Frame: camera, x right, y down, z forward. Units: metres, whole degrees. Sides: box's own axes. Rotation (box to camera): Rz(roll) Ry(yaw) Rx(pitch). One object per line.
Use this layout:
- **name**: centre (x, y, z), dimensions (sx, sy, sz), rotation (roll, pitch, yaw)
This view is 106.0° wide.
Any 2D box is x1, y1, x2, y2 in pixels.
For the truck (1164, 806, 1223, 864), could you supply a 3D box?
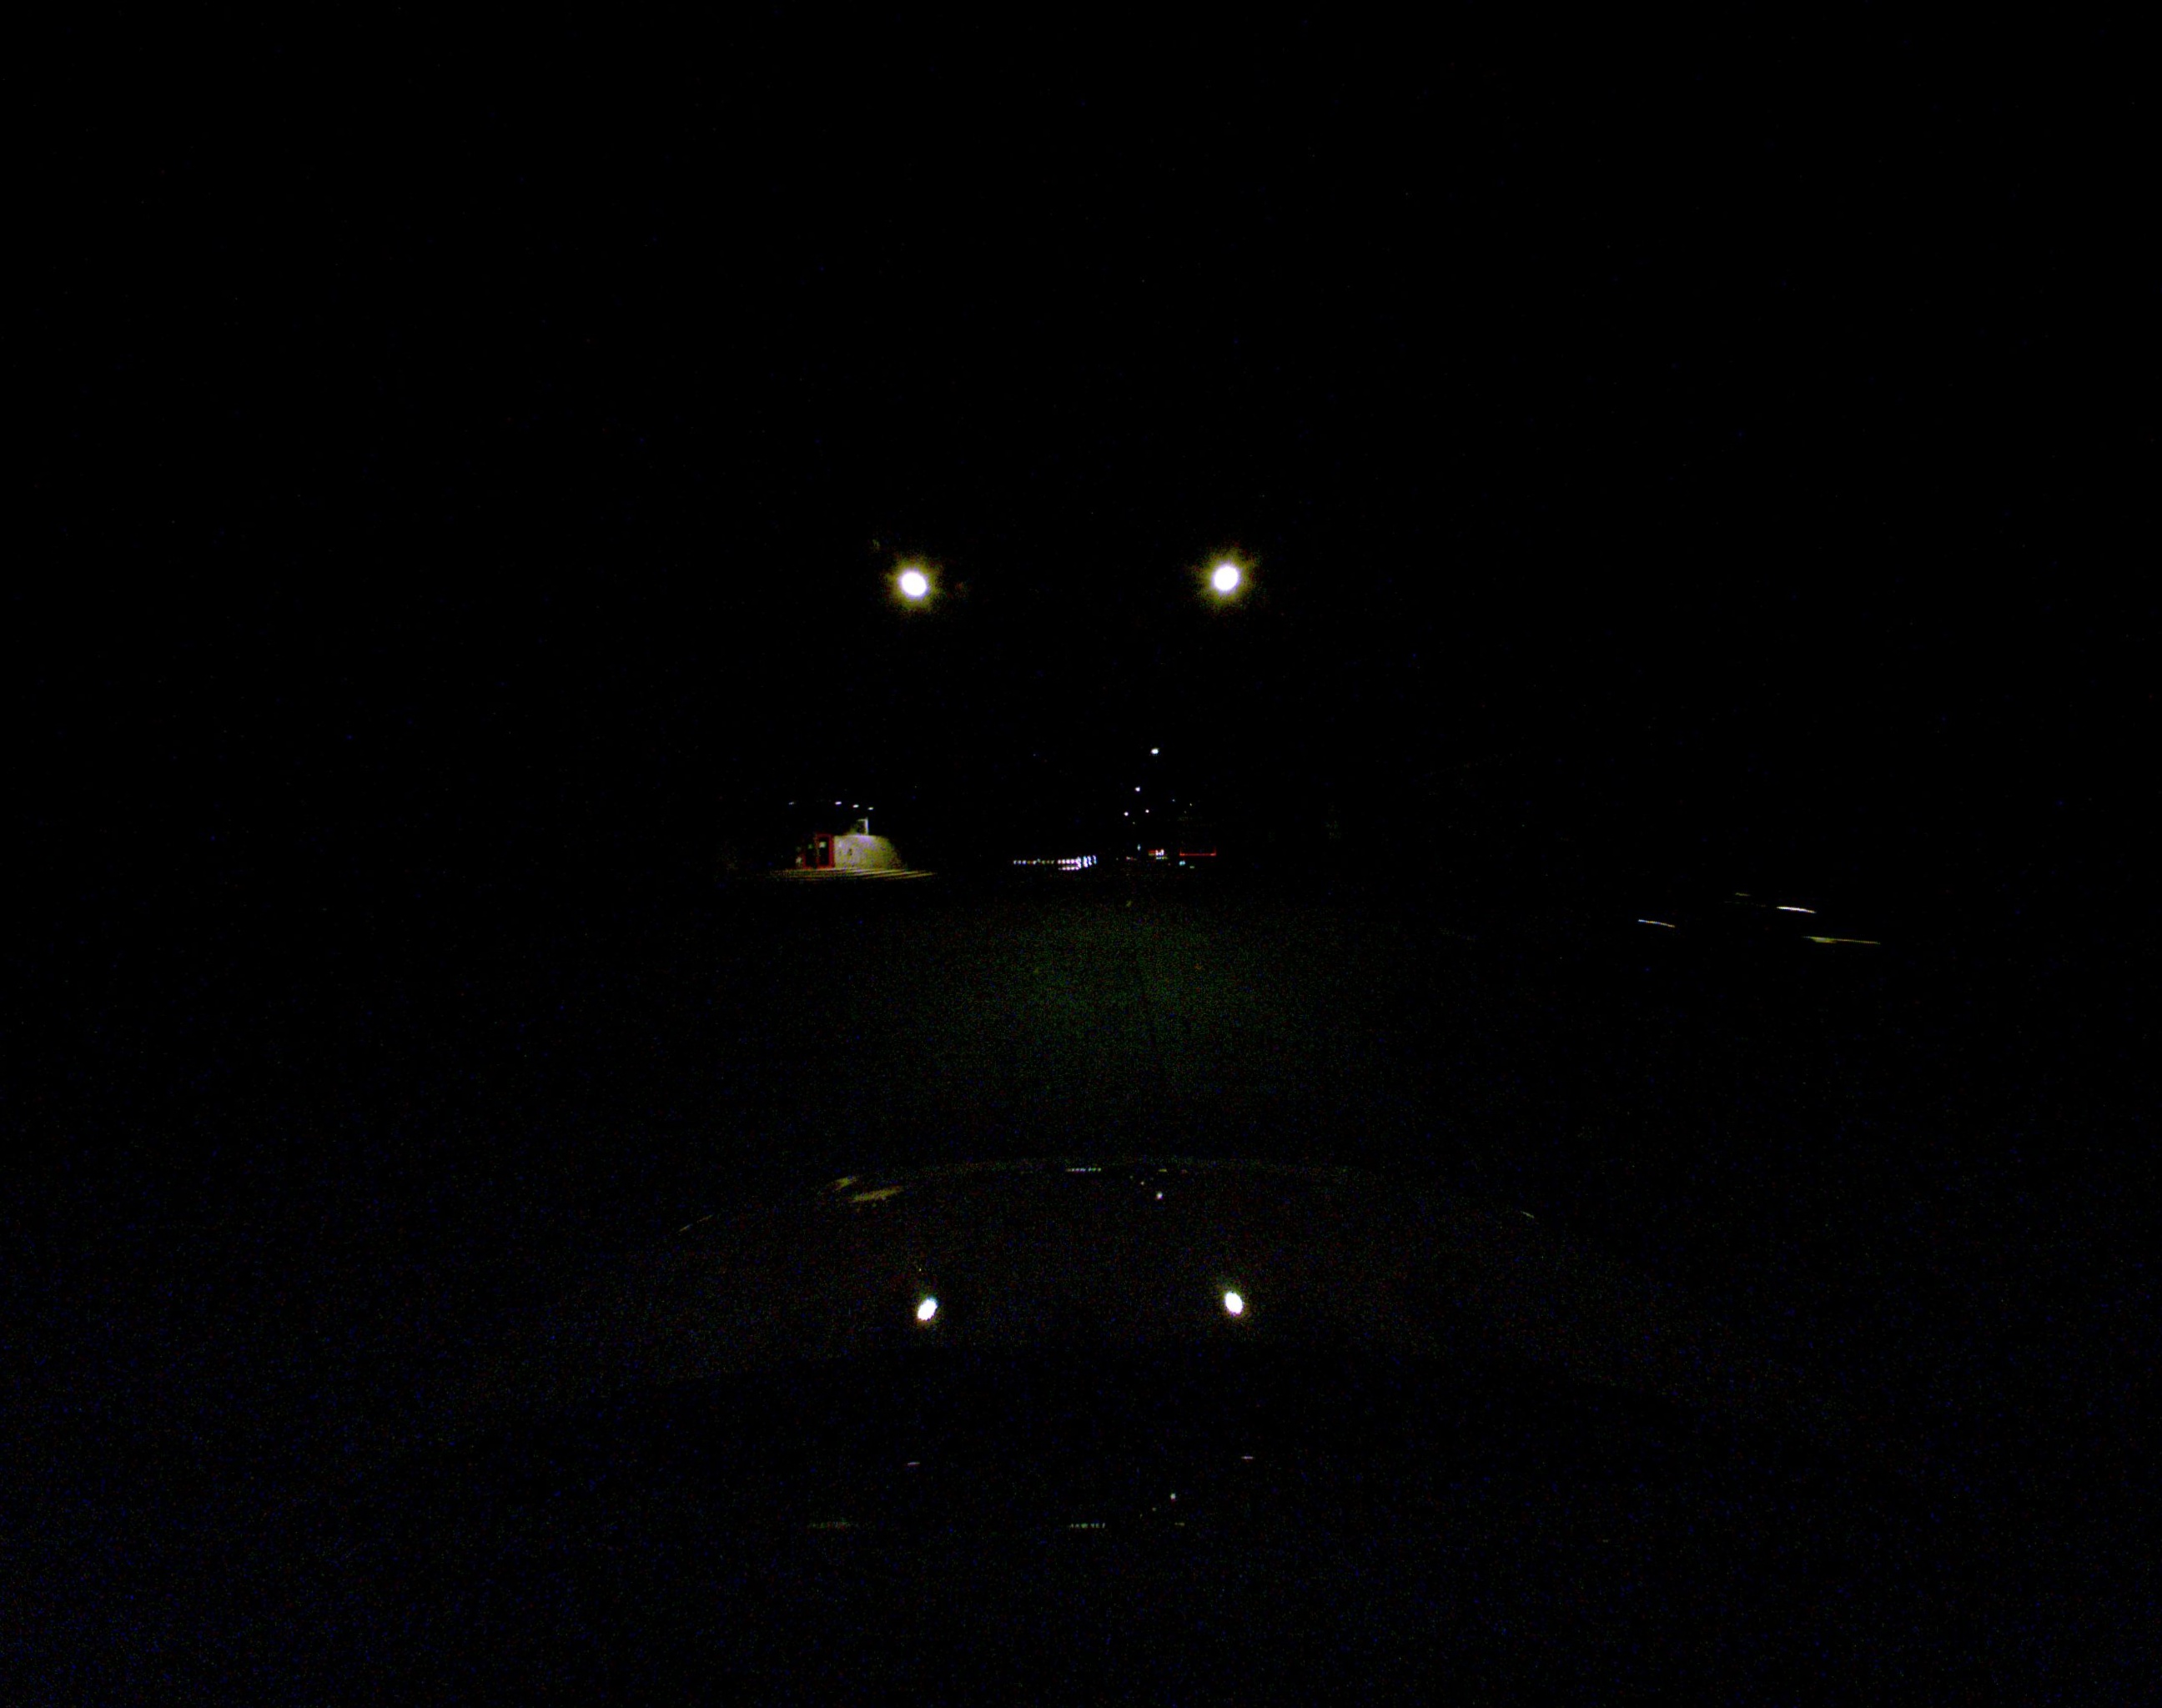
- **truck**: centre (8.090, -1.269, 59.698), dimensions (3.311, 3.868, 9.332), rotation (-1, 0, 2)

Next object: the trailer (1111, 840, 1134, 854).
- **trailer**: centre (7.029, -1.180, 137.485), dimensions (1.567, 2.160, 5.178), rotation (-3, -1, -25)

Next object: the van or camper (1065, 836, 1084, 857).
- **van or camper**: centre (-0.980, -1.198, 134.547), dimensions (2.508, 3.094, 7.452), rotation (-3, 0, 3)

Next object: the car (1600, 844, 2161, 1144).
- **car**: centre (5.948, 0.635, 5.682), dimensions (1.720, 1.386, 4.677), rotation (-1, 1, 1)

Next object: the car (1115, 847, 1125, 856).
- **car**: centre (7.309, -0.500, 152.242), dimensions (1.713, 1.661, 4.003), rotation (-1, -1, 3)

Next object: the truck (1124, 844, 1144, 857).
- **truck**: centre (14.414, -0.978, 221.693), dimensions (1.975, 3.404, 9.032), rotation (-1, 1, 26)

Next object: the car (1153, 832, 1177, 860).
- **car**: centre (7.905, -0.734, 77.334), dimensions (2.099, 2.516, 6.380), rotation (-1, 1, 5)

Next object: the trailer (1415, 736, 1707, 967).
- **trailer**: centre (6.356, -0.041, 11.408), dimensions (1.984, 2.651, 4.006), rotation (-1, 1, 5)

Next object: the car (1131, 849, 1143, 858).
- **car**: centre (12.444, -0.043, 180.529), dimensions (1.707, 1.821, 4.018), rotation (-1, -1, 17)

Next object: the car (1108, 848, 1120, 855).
- **car**: centre (8.392, -0.620, 204.923), dimensions (1.978, 1.699, 4.225), rotation (-1, -1, 17)

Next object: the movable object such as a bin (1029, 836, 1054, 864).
- **movable object such as a bin**: centre (-3.802, -0.371, 77.332), dimensions (1.553, 2.467, 2.822), rotation (-3, 0, -19)

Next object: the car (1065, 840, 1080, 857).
- **car**: centre (-1.621, -1.035, 159.344), dimensions (2.510, 2.927, 7.202), rotation (-3, 0, 1)

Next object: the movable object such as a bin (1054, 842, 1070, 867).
- **movable object such as a bin**: centre (-2.288, 0.057, 96.886), dimensions (1.568, 2.733, 3.695), rotation (-4, 1, -4)

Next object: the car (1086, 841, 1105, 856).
- **car**: centre (3.310, -1.238, 189.196), dimensions (2.500, 3.171, 7.168), rotation (-3, 0, 16)
